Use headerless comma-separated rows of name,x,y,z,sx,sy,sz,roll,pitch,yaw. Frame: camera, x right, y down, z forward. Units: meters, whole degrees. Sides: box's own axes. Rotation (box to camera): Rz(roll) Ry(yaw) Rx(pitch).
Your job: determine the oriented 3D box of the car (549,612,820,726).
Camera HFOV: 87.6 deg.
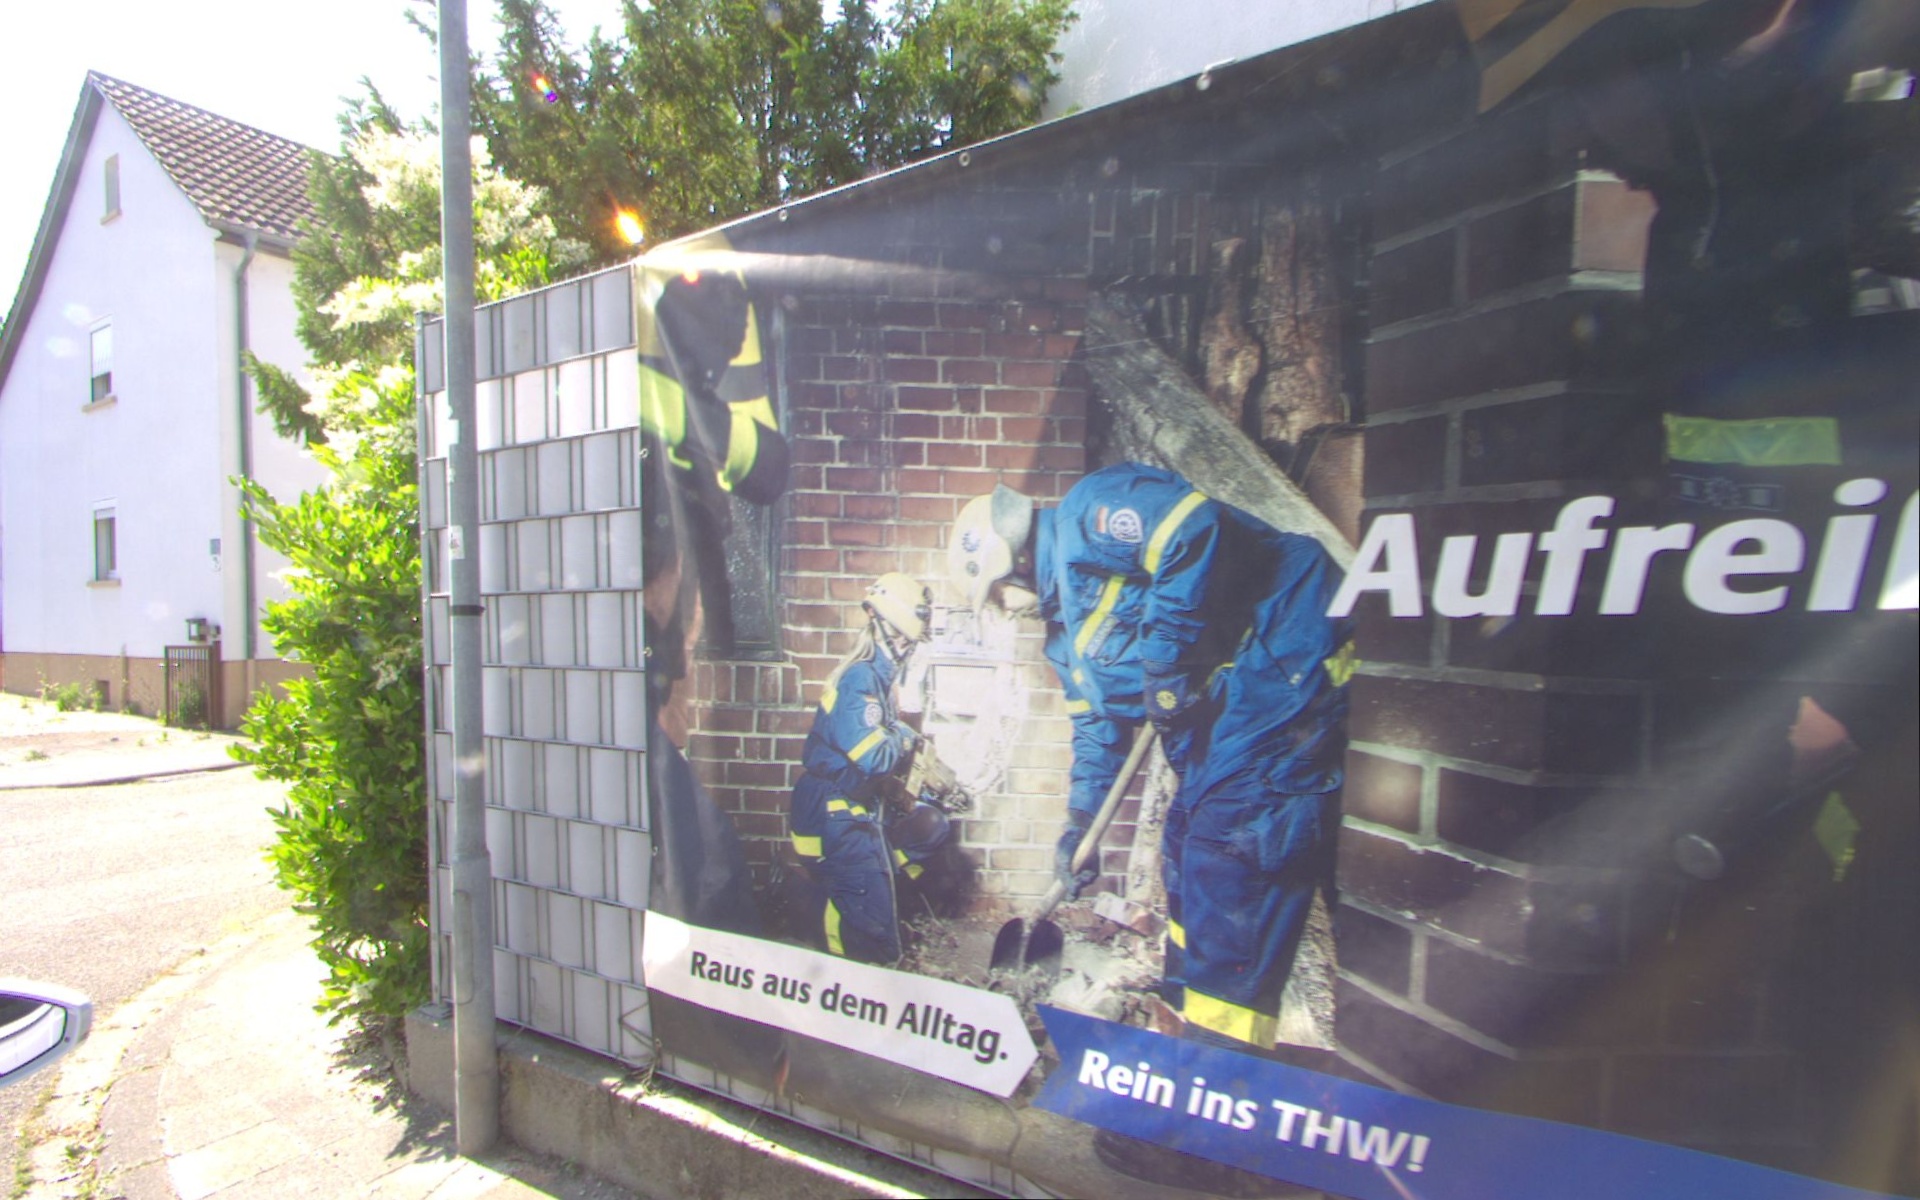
car,-4.178,0.973,15.786,1.771,1.550,3.978,0,-1,32
